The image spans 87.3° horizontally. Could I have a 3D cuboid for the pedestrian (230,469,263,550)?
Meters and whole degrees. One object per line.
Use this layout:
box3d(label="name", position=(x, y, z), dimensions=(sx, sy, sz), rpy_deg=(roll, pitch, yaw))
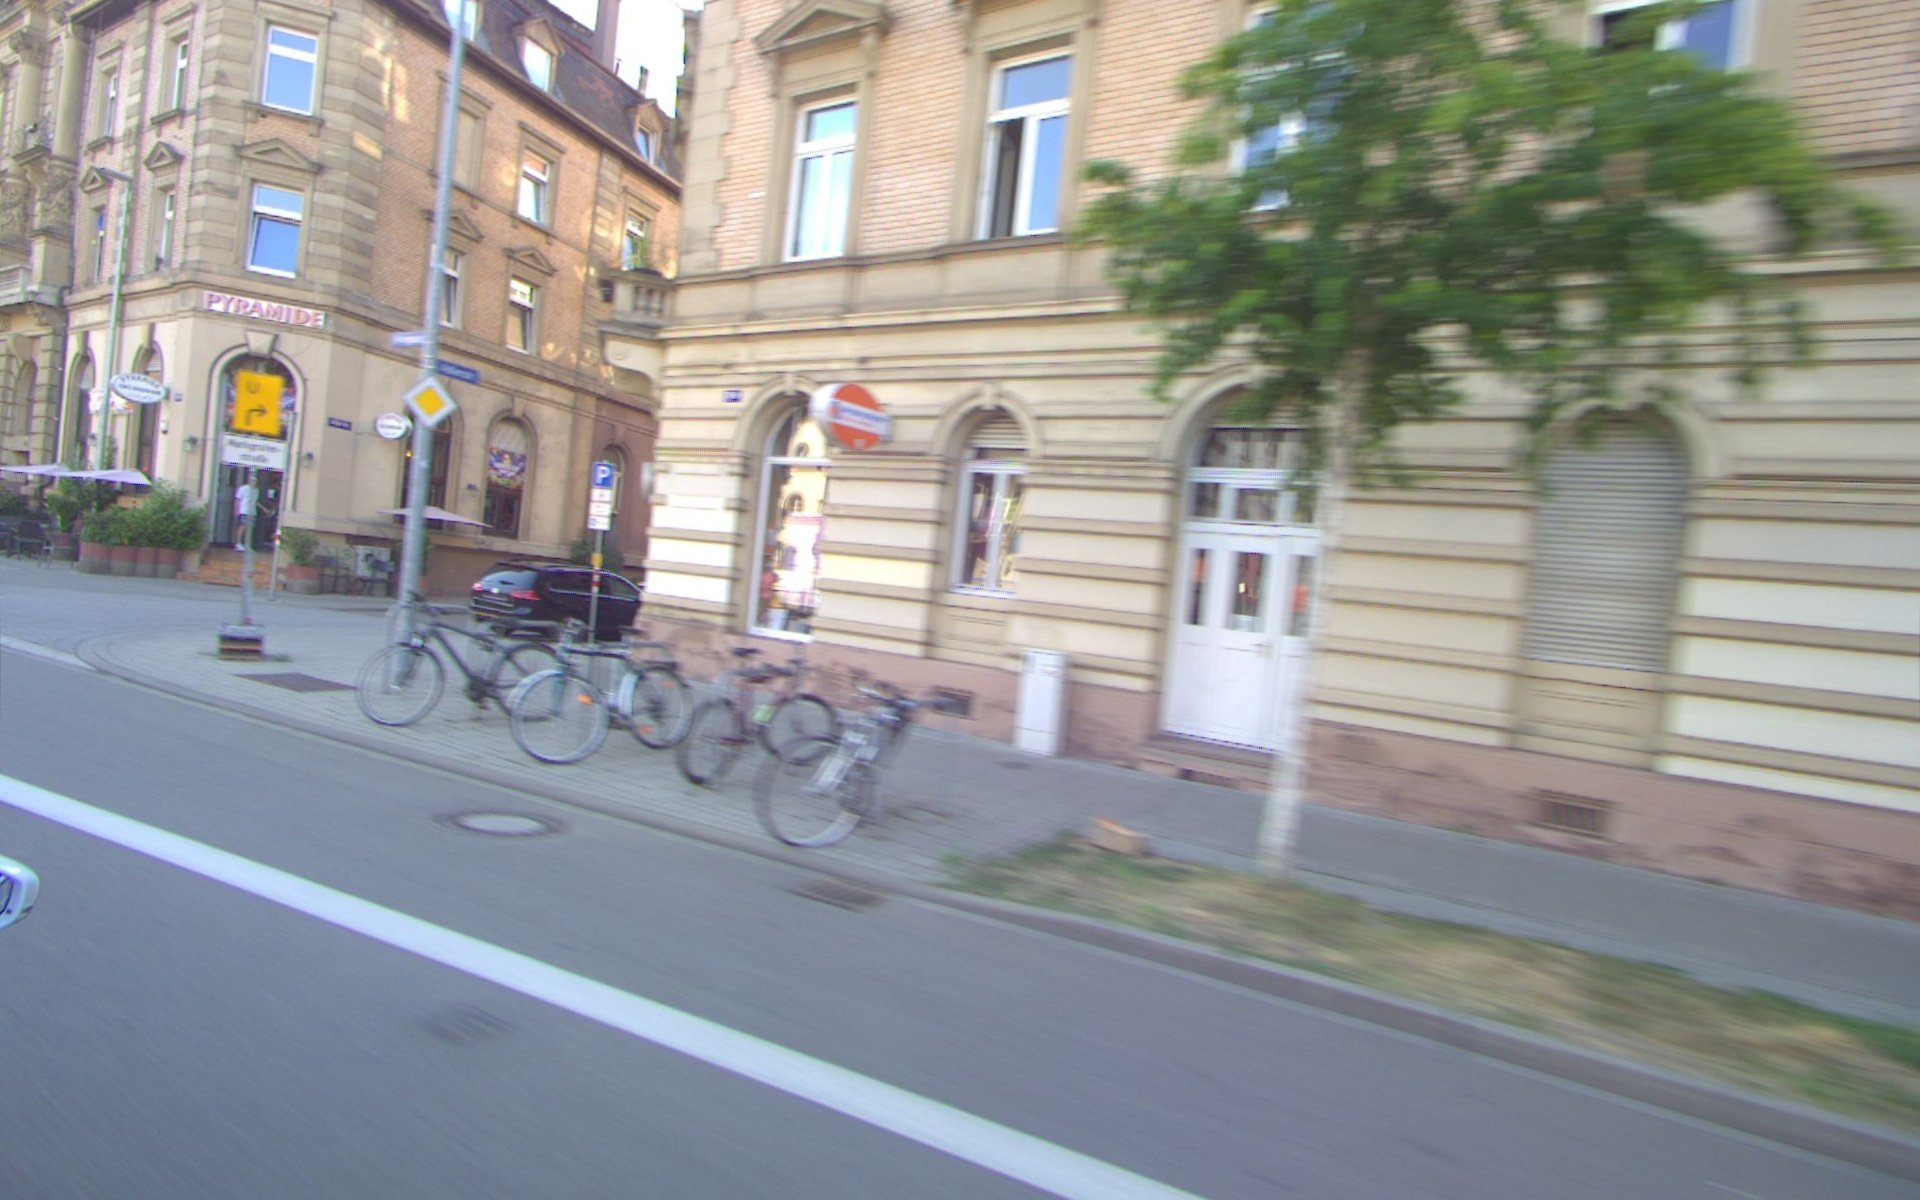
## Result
box3d(label="pedestrian", position=(-16.131, -2.034, 22.758), dimensions=(0.443, 1.763, 0.538), rpy_deg=(5, 1, -31))

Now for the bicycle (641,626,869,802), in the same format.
box3d(label="bicycle", position=(-1.500, 0.795, 7.729), dimensions=(0.652, 1.079, 1.827), rpy_deg=(8, 4, 26))

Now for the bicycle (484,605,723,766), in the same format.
box3d(label="bicycle", position=(-2.819, 0.622, 8.161), dimensions=(0.652, 1.079, 1.827), rpy_deg=(8, 4, 26))

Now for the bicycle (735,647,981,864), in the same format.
box3d(label="bicycle", position=(-0.596, 0.923, 6.632), dimensions=(0.652, 1.079, 1.827), rpy_deg=(8, 4, 26))

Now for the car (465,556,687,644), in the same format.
box3d(label="car", position=(-7.249, 0.056, 19.469), dimensions=(1.588, 1.405, 4.153), rpy_deg=(5, 0, 20))

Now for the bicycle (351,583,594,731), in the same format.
box3d(label="bicycle", position=(-4.157, 0.444, 8.730), dimensions=(0.652, 1.079, 1.827), rpy_deg=(8, 4, 26))
